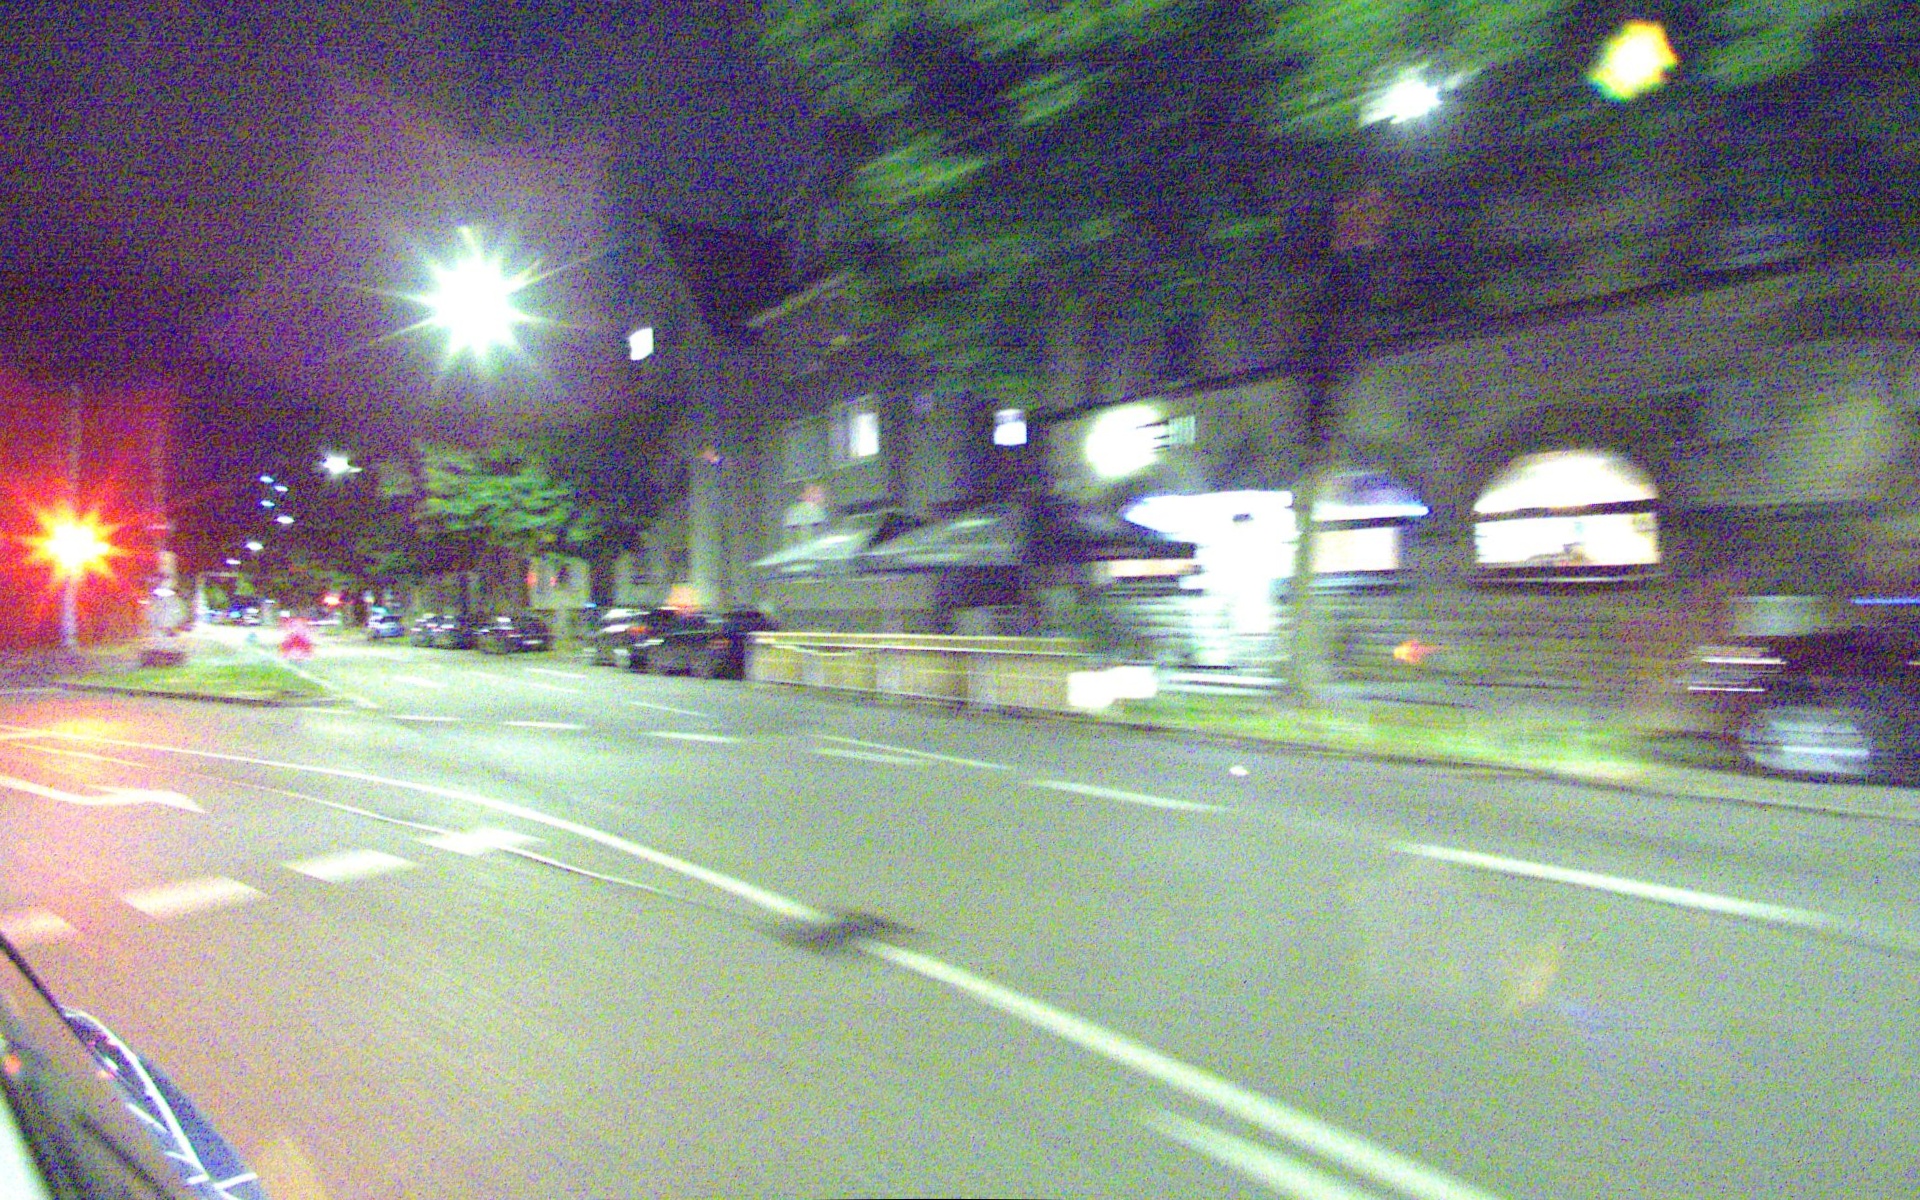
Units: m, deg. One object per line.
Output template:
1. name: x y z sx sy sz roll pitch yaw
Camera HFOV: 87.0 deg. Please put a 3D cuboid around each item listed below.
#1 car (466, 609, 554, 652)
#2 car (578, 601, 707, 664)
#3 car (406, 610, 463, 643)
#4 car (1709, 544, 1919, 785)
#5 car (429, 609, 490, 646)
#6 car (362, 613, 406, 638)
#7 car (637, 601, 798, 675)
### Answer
1. car: -16.660 1.097 37.334 1.837 1.444 4.411 -1 -1 -40
2. car: -8.503 0.828 26.823 1.836 1.490 4.482 -1 -1 -37
3. car: -24.867 1.242 47.823 1.617 1.444 4.359 -3 0 -37
4. car: 7.653 0.386 6.607 1.861 1.608 4.033 -2 0 -36
5. car: -21.737 1.193 43.853 1.531 1.444 4.357 -3 0 -37
6. car: -34.758 1.540 61.026 1.608 1.475 3.519 1 -2 -41
7. car: -5.544 0.818 22.741 1.837 1.444 4.453 -2 0 -37
